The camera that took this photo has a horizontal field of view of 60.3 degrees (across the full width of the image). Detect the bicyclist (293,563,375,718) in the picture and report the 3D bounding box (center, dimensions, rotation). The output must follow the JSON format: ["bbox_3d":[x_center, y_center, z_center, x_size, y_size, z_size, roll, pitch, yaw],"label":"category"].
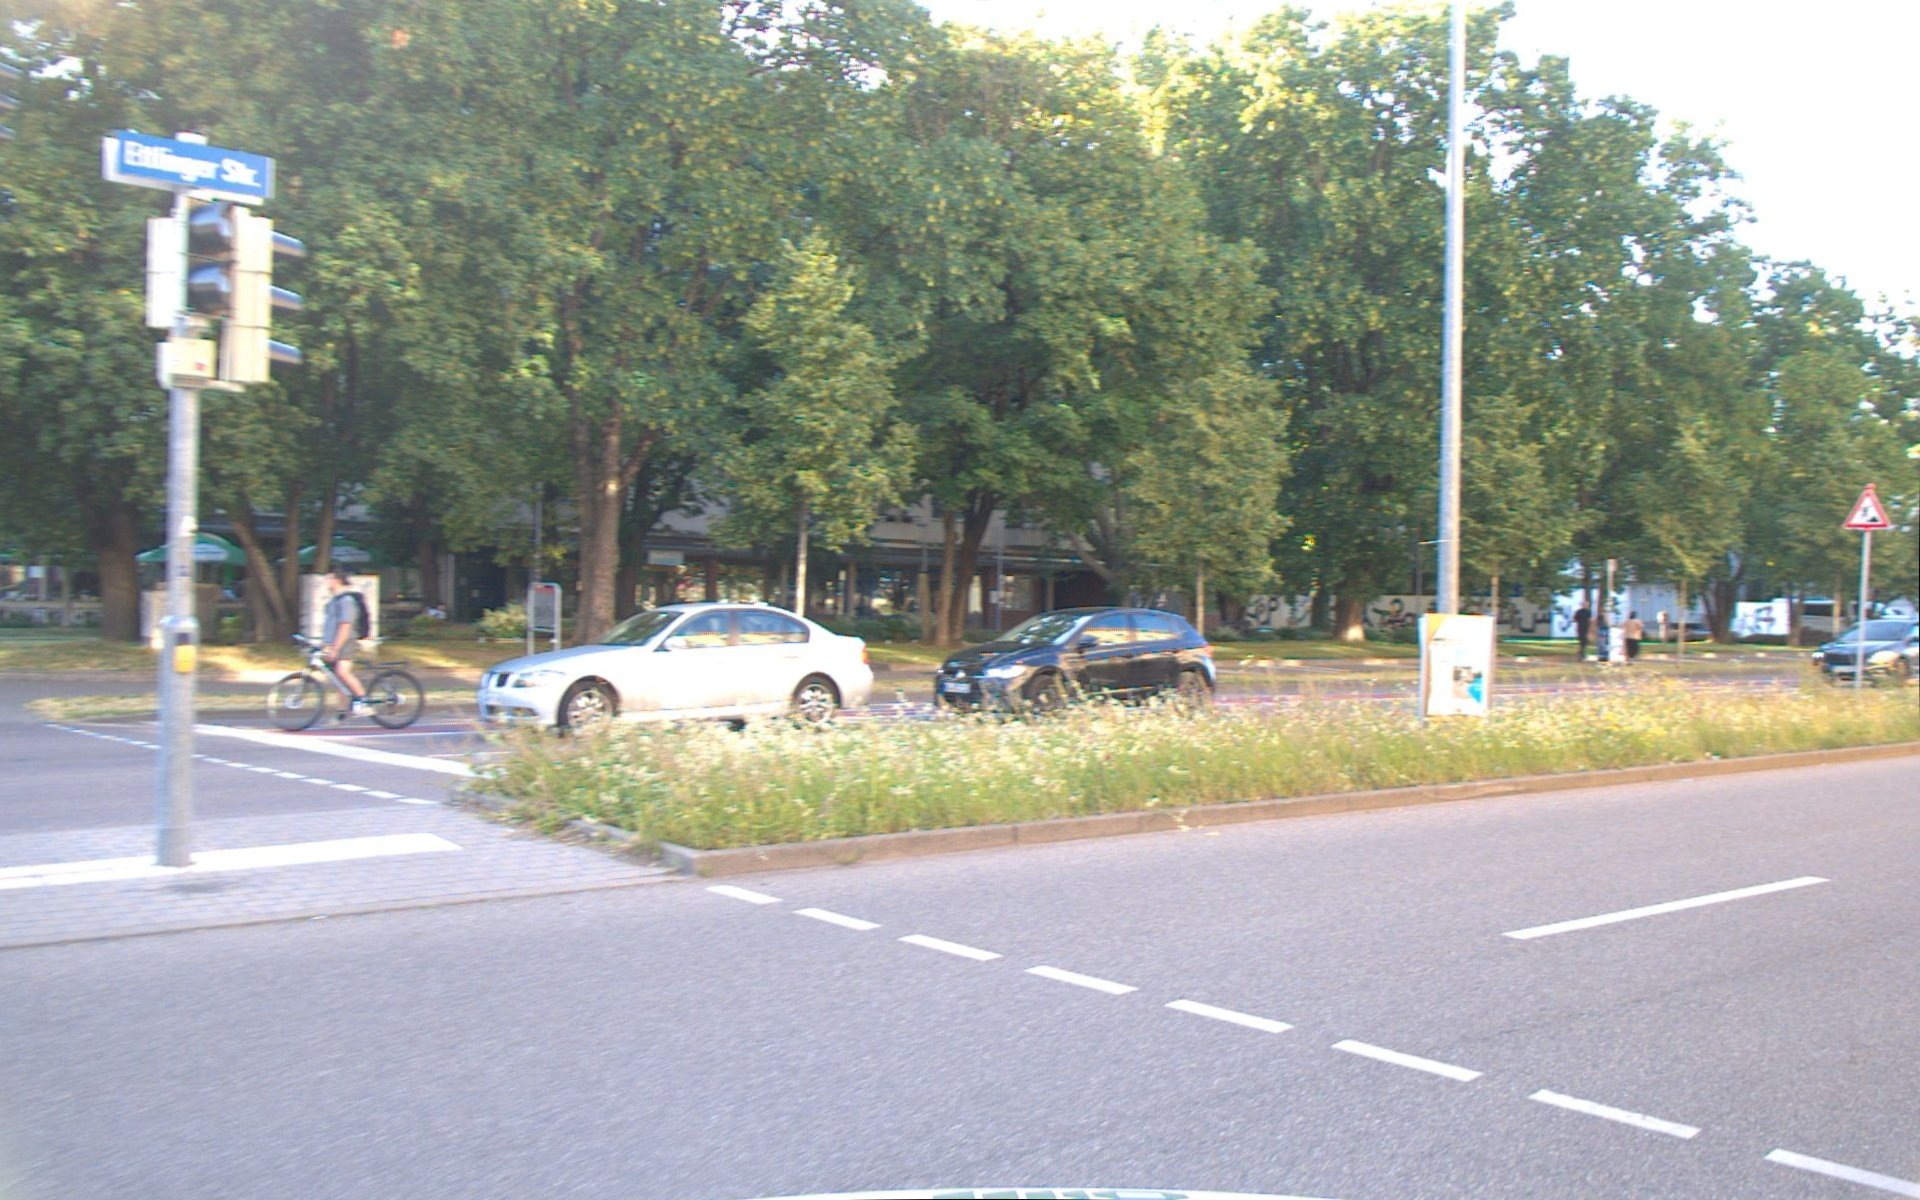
[{"bbox_3d":[-7.118,0.459,18.796,0.824,1.708,0.778,1,-1,-23],"label":"bicyclist"}]

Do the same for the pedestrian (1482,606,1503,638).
[{"bbox_3d":[28.020,1.167,87.012,0.735,1.669,0.718,1,0,-31],"label":"pedestrian"}]

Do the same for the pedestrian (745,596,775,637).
[{"bbox_3d":[-6.681,0.555,55.217,0.707,1.363,0.819,1,0,-34],"label":"pedestrian"}]

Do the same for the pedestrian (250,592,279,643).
[{"bbox_3d":[-19.127,0.481,45.465,0.592,1.363,0.725,1,0,-34],"label":"pedestrian"}]

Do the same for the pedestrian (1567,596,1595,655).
[{"bbox_3d":[18.993,0.773,50.566,0.647,1.771,0.520,1,0,-33],"label":"pedestrian"}]

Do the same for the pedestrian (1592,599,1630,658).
[{"bbox_3d":[19.553,0.855,49.716,0.751,1.771,0.765,1,0,-33],"label":"pedestrian"}]

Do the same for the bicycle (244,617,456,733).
[{"bbox_3d":[-6.939,0.837,18.868,2.211,1.261,0.773,1,-1,-23],"label":"bicycle"}]

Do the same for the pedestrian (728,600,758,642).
[{"bbox_3d":[-7.192,0.694,54.860,0.657,1.363,0.898,1,0,-34],"label":"pedestrian"}]

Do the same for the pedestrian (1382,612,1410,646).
[{"bbox_3d":[20.103,1.330,76.223,0.888,1.567,0.890,1,0,-44],"label":"pedestrian"}]

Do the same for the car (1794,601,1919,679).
[{"bbox_3d":[20.333,0.861,36.439,4.017,1.592,1.974,1,0,-37],"label":"car"}]

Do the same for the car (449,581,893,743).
[{"bbox_3d":[-3.140,0.670,18.394,4.501,1.588,1.973,1,-3,-37],"label":"car"}]

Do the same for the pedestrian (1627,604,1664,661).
[{"bbox_3d":[20.382,0.957,49.148,0.717,1.669,0.736,1,0,-33],"label":"pedestrian"}]

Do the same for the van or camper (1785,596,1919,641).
[{"bbox_3d":[43.296,0.910,80.101,2.232,2.049,5.611,3,-2,-35],"label":"van or camper"}]

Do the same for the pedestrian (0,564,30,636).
[{"bbox_3d":[-23.940,-0.008,41.190,1.194,1.771,0.889,1,0,-22],"label":"pedestrian"}]

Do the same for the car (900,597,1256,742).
[{"bbox_3d":[1.614,0.849,21.674,4.501,1.705,1.974,1,0,-37],"label":"car"}]
